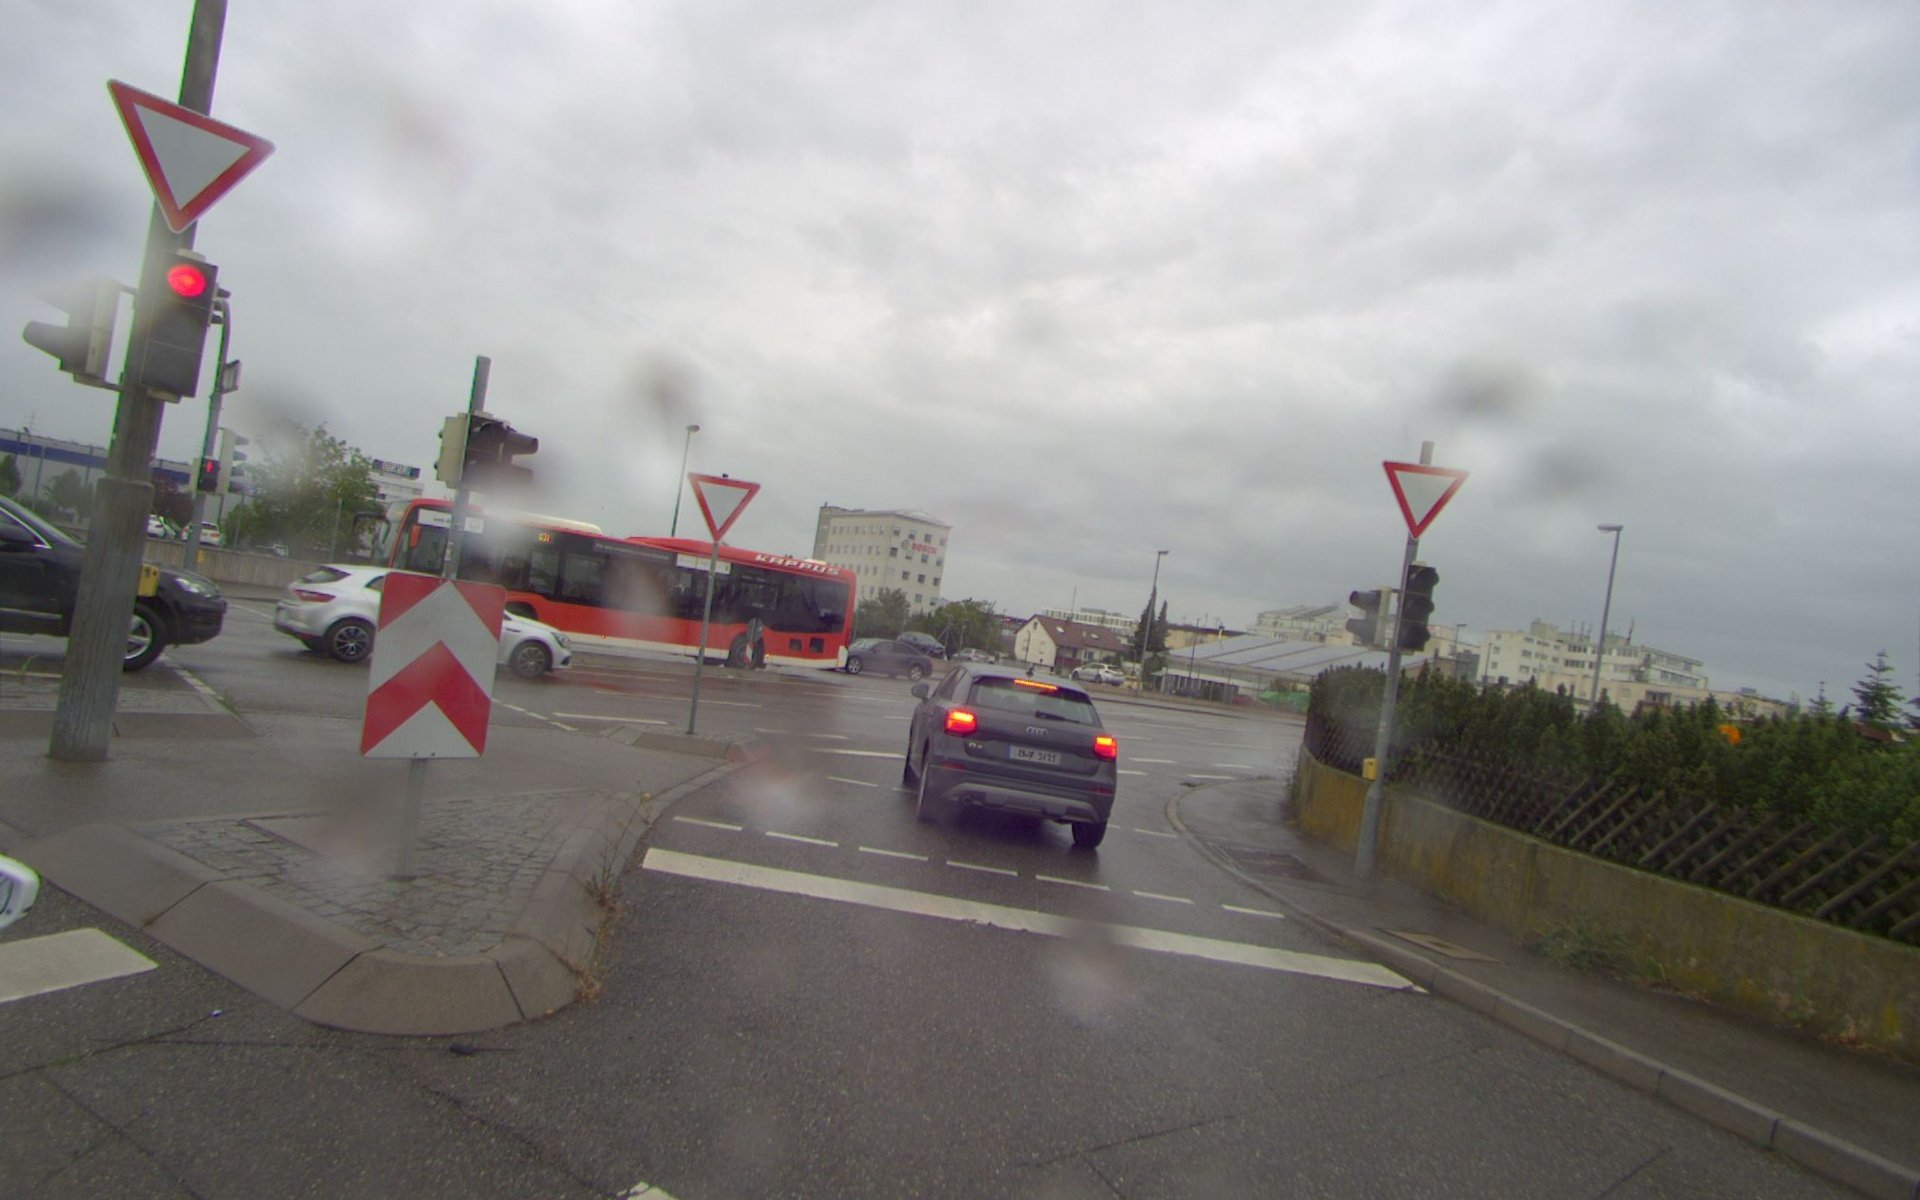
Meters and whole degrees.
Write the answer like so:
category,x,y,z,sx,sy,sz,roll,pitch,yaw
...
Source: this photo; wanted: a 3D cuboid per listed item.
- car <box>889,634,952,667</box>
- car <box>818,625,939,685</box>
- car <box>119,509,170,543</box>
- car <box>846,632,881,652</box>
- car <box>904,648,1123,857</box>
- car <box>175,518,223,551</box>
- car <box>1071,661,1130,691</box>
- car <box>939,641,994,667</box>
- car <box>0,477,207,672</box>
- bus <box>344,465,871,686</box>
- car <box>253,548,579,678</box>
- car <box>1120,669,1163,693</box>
category,x,y,z,sx,sy,sz,roll,pitch,yaw
car,-2.472,3.094,61.946,1.983,1.494,3.964,10,-2,-34
car,-3.091,2.091,38.325,3.963,1.584,1.984,11,-3,-31
car,-45.617,-4.121,56.350,1.985,1.495,3.959,10,-2,-38
car,-9.663,4.187,100.459,1.979,1.494,3.971,9,-2,-29
car,0.355,1.395,10.506,1.659,1.511,3.941,10,-3,-3
car,-43.897,-3.795,58.018,1.986,1.495,3.958,10,-2,-38
car,9.737,5.255,70.044,1.979,1.494,3.971,9,-2,-29
car,0.544,4.377,82.215,3.951,1.494,1.989,9,-2,-24
car,-10.298,-0.464,9.663,4.586,1.722,1.975,10,-2,-44
bus,-8.290,-0.267,25.809,12.244,3.357,3.040,12,-3,-41
car,-8.571,0.256,16.073,4.131,1.432,1.903,11,-3,-44
car,18.061,8.052,99.983,3.760,1.771,1.887,9,-2,-29
